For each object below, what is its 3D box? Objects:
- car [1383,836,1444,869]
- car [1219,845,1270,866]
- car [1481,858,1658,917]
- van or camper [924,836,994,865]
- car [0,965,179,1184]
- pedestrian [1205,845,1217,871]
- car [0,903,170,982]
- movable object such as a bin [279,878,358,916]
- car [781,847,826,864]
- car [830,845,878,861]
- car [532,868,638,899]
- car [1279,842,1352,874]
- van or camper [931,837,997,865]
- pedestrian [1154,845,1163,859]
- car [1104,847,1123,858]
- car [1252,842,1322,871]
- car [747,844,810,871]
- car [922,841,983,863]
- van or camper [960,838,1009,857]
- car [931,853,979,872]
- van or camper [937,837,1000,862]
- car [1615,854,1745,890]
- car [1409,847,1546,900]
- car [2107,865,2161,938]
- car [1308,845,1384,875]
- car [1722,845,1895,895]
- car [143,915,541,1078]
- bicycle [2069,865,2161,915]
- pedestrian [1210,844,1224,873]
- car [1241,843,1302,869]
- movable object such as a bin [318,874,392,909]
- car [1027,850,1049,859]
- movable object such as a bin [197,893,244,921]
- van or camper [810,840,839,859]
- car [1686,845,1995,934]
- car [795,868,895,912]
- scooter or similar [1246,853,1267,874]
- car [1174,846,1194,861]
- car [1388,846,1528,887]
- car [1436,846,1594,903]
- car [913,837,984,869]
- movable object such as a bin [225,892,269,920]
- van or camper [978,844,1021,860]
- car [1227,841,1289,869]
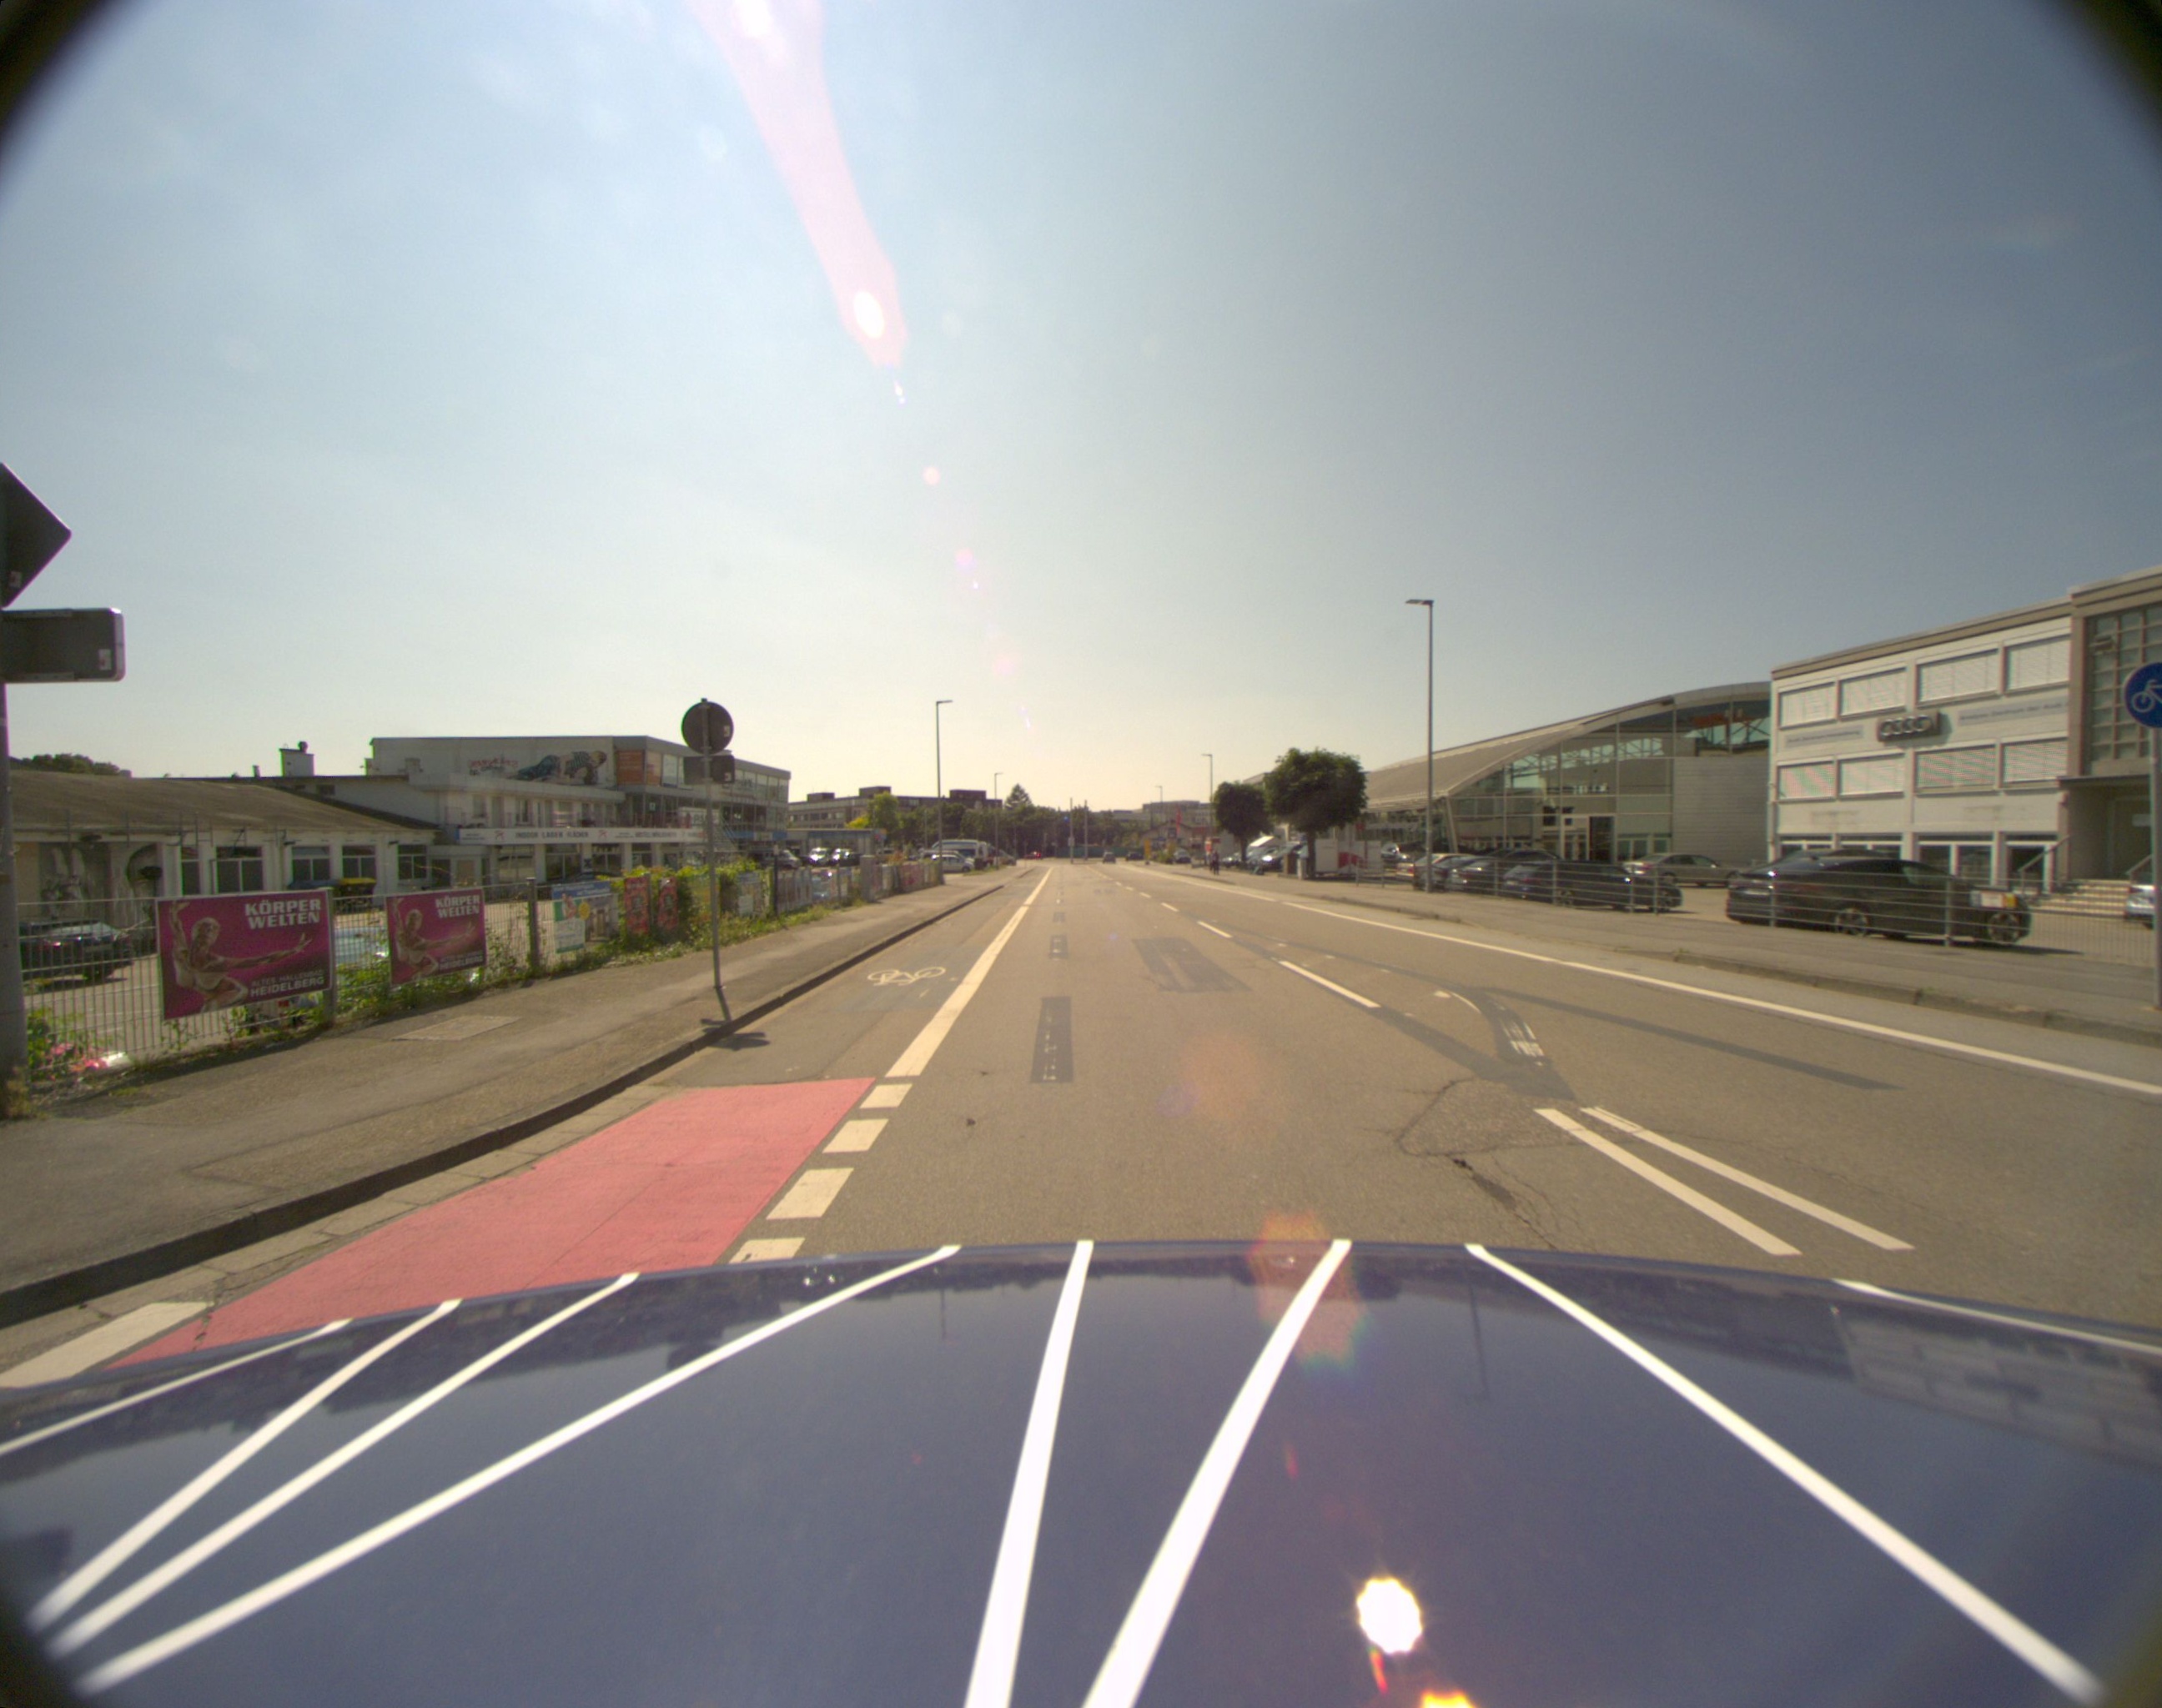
[{"bbox_3d":[18.217,-0.114,41.838,1.997,1.674,4.001,-1,1,7],"label":"car"},{"bbox_3d":[12.961,0.081,60.005,4.168,1.451,1.902,-3,2,-44],"label":"car"},{"bbox_3d":[14.112,0.944,22.092,3.999,1.482,1.857,-1,3,-5],"label":"car"},{"bbox_3d":[-11.914,-0.386,74.501,6.366,2.685,2.711,-1,1,-1],"label":"van or camper"},{"bbox_3d":[-9.333,1.624,5.453,3.995,1.338,1.606,-2,1,5],"label":"car"},{"bbox_3d":[9.325,0.273,54.511,0.725,1.838,0.911,-1,1,-1],"label":"pedestrian"},{"bbox_3d":[-22.776,1.868,16.091,4.340,1.390,2.119,-2,1,0],"label":"car"},{"bbox_3d":[-32.596,1.812,32.511,1.575,1.447,1.754,-2,1,-6],"label":"movable object such as a bin"},{"bbox_3d":[-29.787,0.149,81.569,4.117,1.723,1.999,-1,1,-5],"label":"car"},{"bbox_3d":[-24.415,-0.158,81.900,4.551,1.668,1.999,-1,1,-5],"label":"car"},{"bbox_3d":[-27.226,1.585,41.783,4.562,1.283,1.890,-5,2,-42],"label":"car"},{"bbox_3d":[14.216,0.220,45.994,4.488,1.698,1.905,-4,2,-37],"label":"car"},{"bbox_3d":[-11.825,-0.319,77.253,6.366,2.701,2.711,-1,1,-1],"label":"van or camper"},{"bbox_3d":[9.282,-0.235,91.292,0.996,1.676,0.800,0,1,10],"label":"pedestrian"},{"bbox_3d":[4.397,-0.171,101.363,1.744,1.396,4.328,1,1,12],"label":"car"},{"bbox_3d":[13.266,0.137,48.811,4.588,1.687,1.854,-2,1,-37],"label":"car"},{"bbox_3d":[-30.039,0.285,75.574,5.313,2.405,2.324,-3,1,-6],"label":"car"},{"bbox_3d":[-11.620,-0.158,68.898,5.248,1.941,1.999,0,1,-2],"label":"car"},{"bbox_3d":[-13.568,-0.959,106.802,6.375,2.621,2.526,-1,1,-37],"label":"van or camper"},{"bbox_3d":[-10.922,0.699,66.078,3.932,1.584,1.797,-1,1,-2],"label":"car"},{"bbox_3d":[-11.793,-0.462,79.996,6.212,2.510,2.618,-1,1,-1],"label":"van or camper"},{"bbox_3d":[24.958,0.717,31.762,3.997,1.351,1.858,-1,1,-2],"label":"car"},{"bbox_3d":[14.035,0.651,26.986,3.901,1.437,1.821,-5,4,-4],"label":"car"},{"bbox_3d":[25.126,1.016,16.248,3.998,1.537,1.858,-1,1,-3],"label":"car"},{"bbox_3d":[14.775,0.306,42.364,4.006,1.541,1.854,-2,1,-32],"label":"car"},{"bbox_3d":[24.932,0.526,26.128,4.366,1.544,1.858,-1,1,-4],"label":"car"},{"bbox_3d":[-9.119,1.676,9.532,3.475,1.592,1.892,-2,1,12],"label":"car"},{"bbox_3d":[27.458,0.919,19.450,0.928,1.171,2.575,-2,1,-3],"label":"bicycle"},{"bbox_3d":[8.829,0.314,49.398,0.734,1.857,1.047,-1,1,1],"label":"pedestrian"},{"bbox_3d":[13.210,0.115,52.623,4.210,1.486,1.869,-4,3,-37],"label":"car"},{"bbox_3d":[-32.794,1.675,34.360,1.575,1.447,1.824,-2,1,-6],"label":"movable object such as a bin"},{"bbox_3d":[-8.402,0.071,149.081,3.988,1.696,2.004,0,1,34],"label":"car"},{"bbox_3d":[-33.029,2.024,29.169,0.748,0.986,0.875,-2,1,-6],"label":"movable object such as a bin"},{"bbox_3d":[-29.389,-0.537,87.089,2.124,2.002,5.111,-1,1,-7],"label":"van or camper"},{"bbox_3d":[14.746,0.629,14.921,4.309,1.550,1.994,-1,1,-5],"label":"car"},{"bbox_3d":[-9.619,1.407,30.883,3.819,1.607,1.897,-1,1,36],"label":"car"},{"bbox_3d":[10.721,0.590,46.499,0.746,1.240,1.489,-2,1,-9],"label":"scooter or similar"},{"bbox_3d":[12.010,-0.104,88.904,1.910,1.705,3.999,-1,1,1],"label":"car"},{"bbox_3d":[14.656,0.461,29.677,4.537,1.449,1.899,-1,1,-3],"label":"car"},{"bbox_3d":[13.974,0.629,24.617,3.999,1.435,1.858,5,1,-4],"label":"car"},{"bbox_3d":[-12.373,-0.125,71.437,6.244,2.853,2.319,-1,1,-1],"label":"car"},{"bbox_3d":[-33.075,2.058,30.158,0.748,1.030,0.875,-2,1,-6],"label":"movable object such as a bin"},{"bbox_3d":[-10.546,-0.250,98.442,5.145,1.950,1.981,0,2,-32],"label":"van or camper"},{"bbox_3d":[13.240,0.053,56.735,4.489,1.599,1.961,-6,-1,-37],"label":"car"}]
